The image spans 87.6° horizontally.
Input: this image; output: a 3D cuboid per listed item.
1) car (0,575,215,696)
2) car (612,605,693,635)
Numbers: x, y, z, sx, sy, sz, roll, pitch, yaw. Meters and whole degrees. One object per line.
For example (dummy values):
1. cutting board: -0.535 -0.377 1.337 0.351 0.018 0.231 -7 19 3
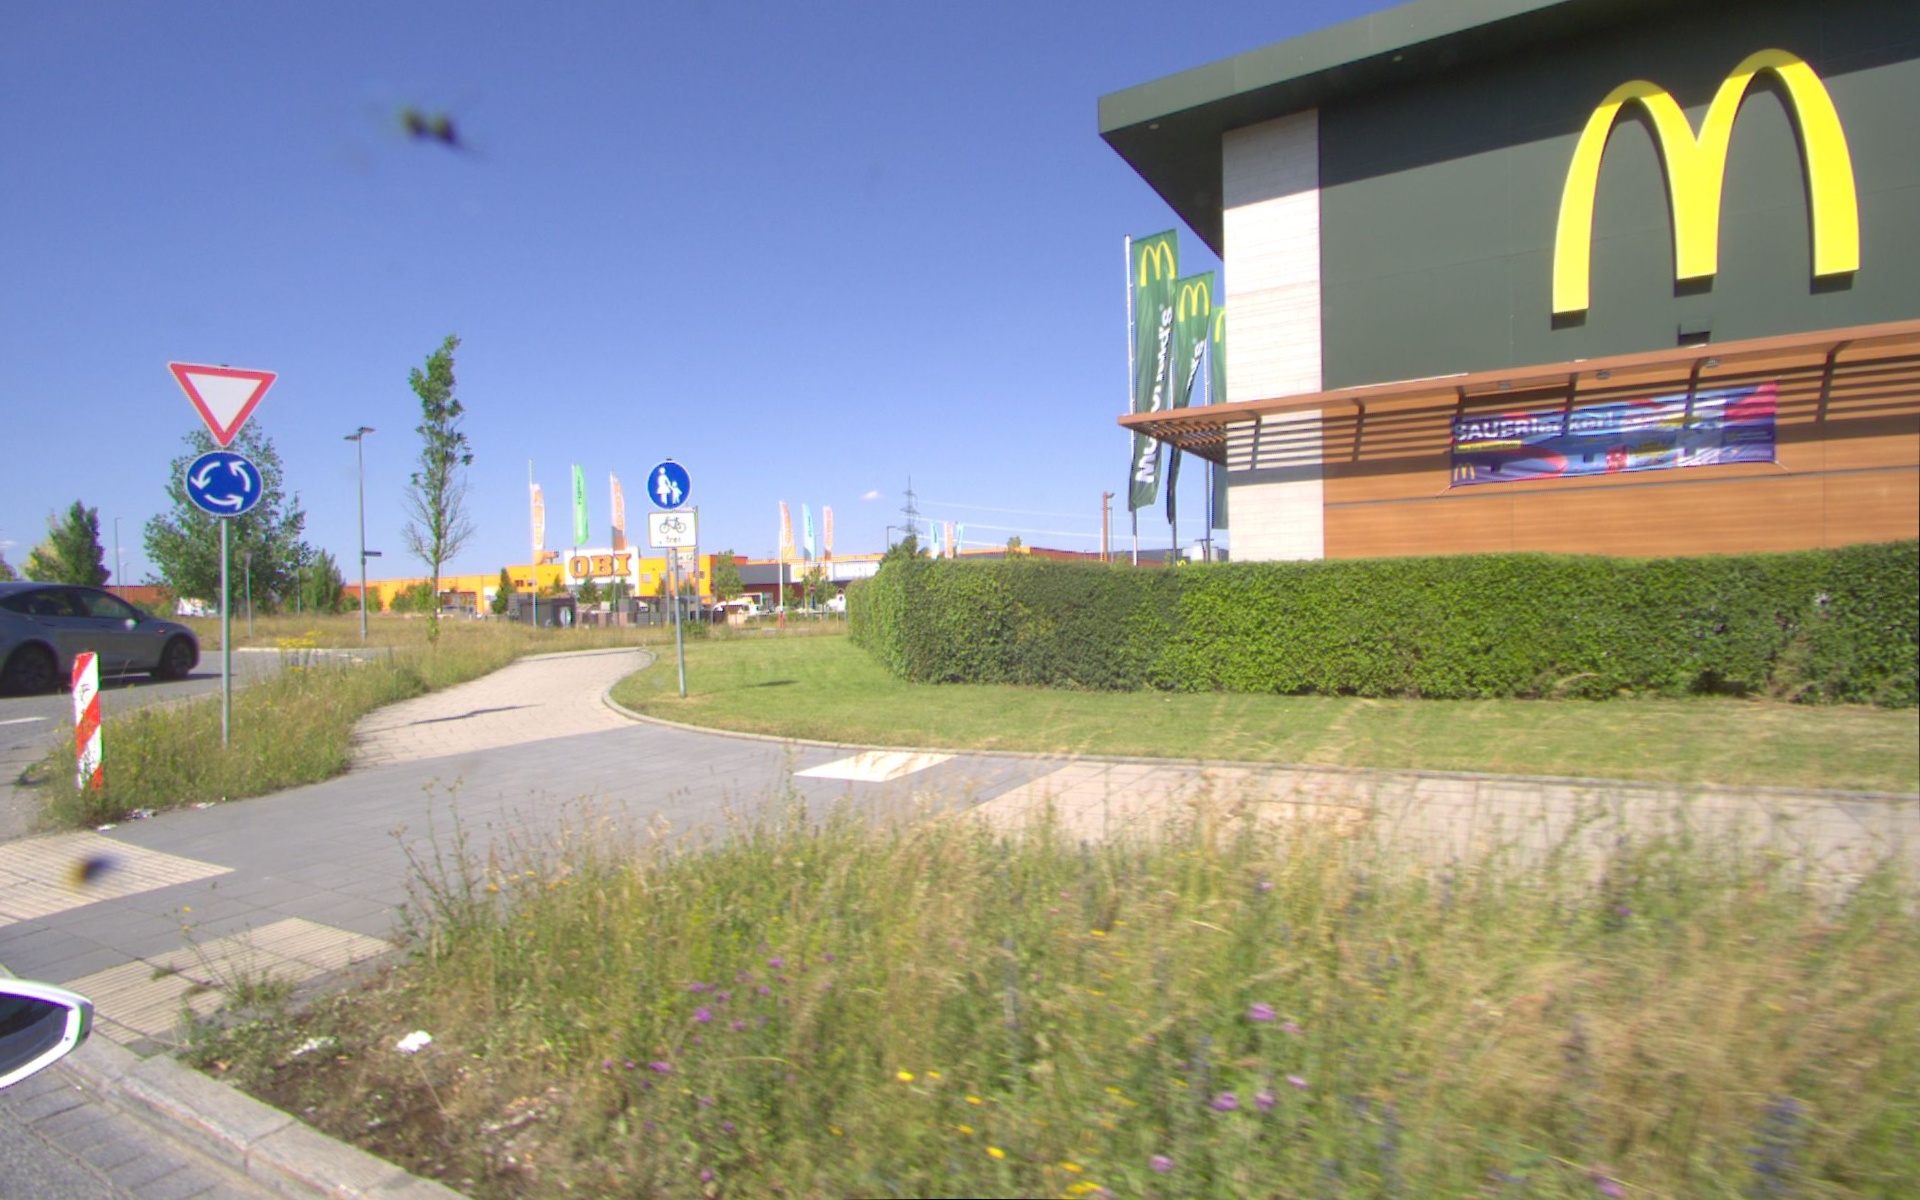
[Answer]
1. car: -14.077 0.476 15.334 1.925 1.648 4.623 0 0 -1
2. car: -16.252 1.056 53.108 1.828 1.478 3.982 -1 0 28
